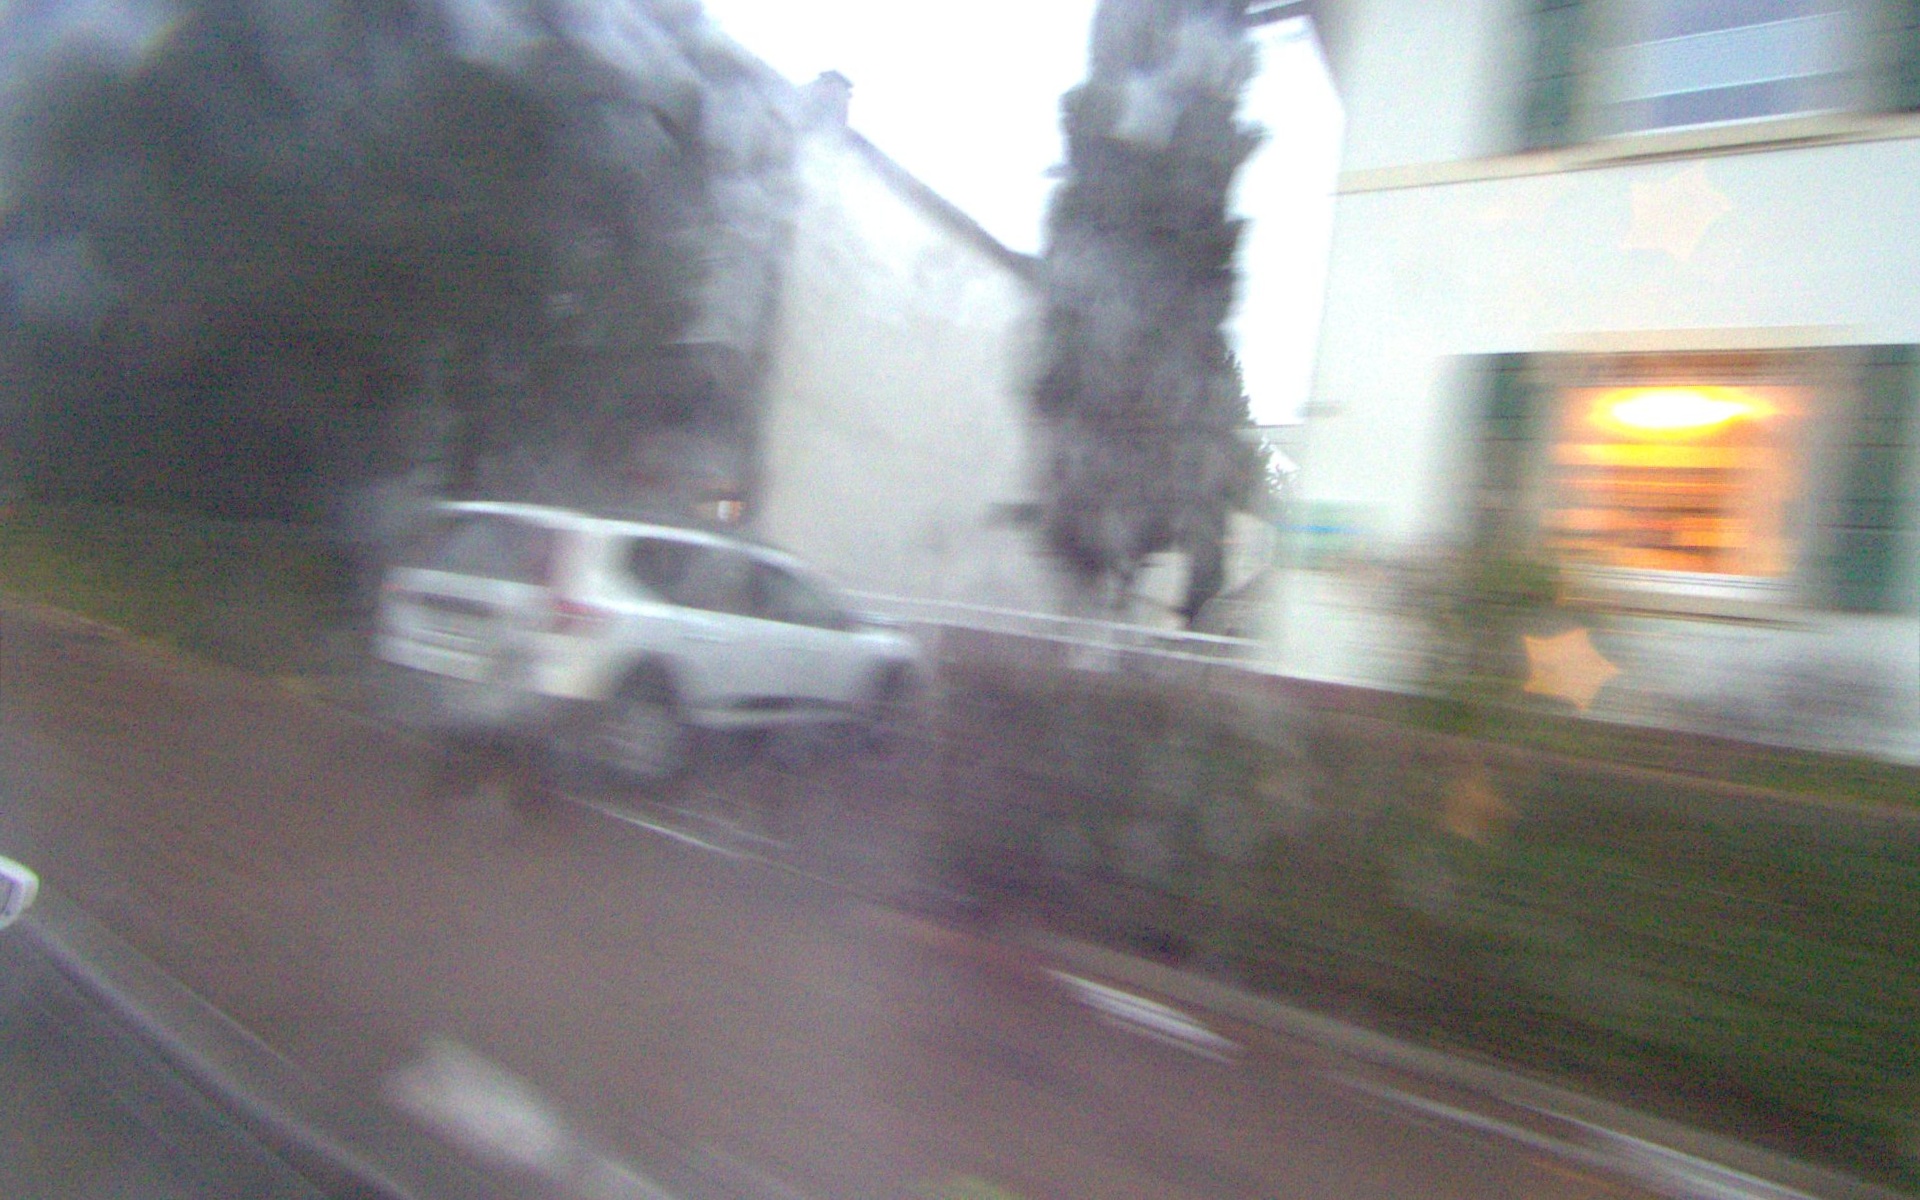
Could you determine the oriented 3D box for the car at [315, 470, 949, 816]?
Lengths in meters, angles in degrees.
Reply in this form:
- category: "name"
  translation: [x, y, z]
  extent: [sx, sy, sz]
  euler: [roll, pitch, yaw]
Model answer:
- category: "car"
  translation: [-2.064, 0.281, 7.691]
  extent: [1.965, 1.754, 4.329]
  euler: [7, 1, 28]
